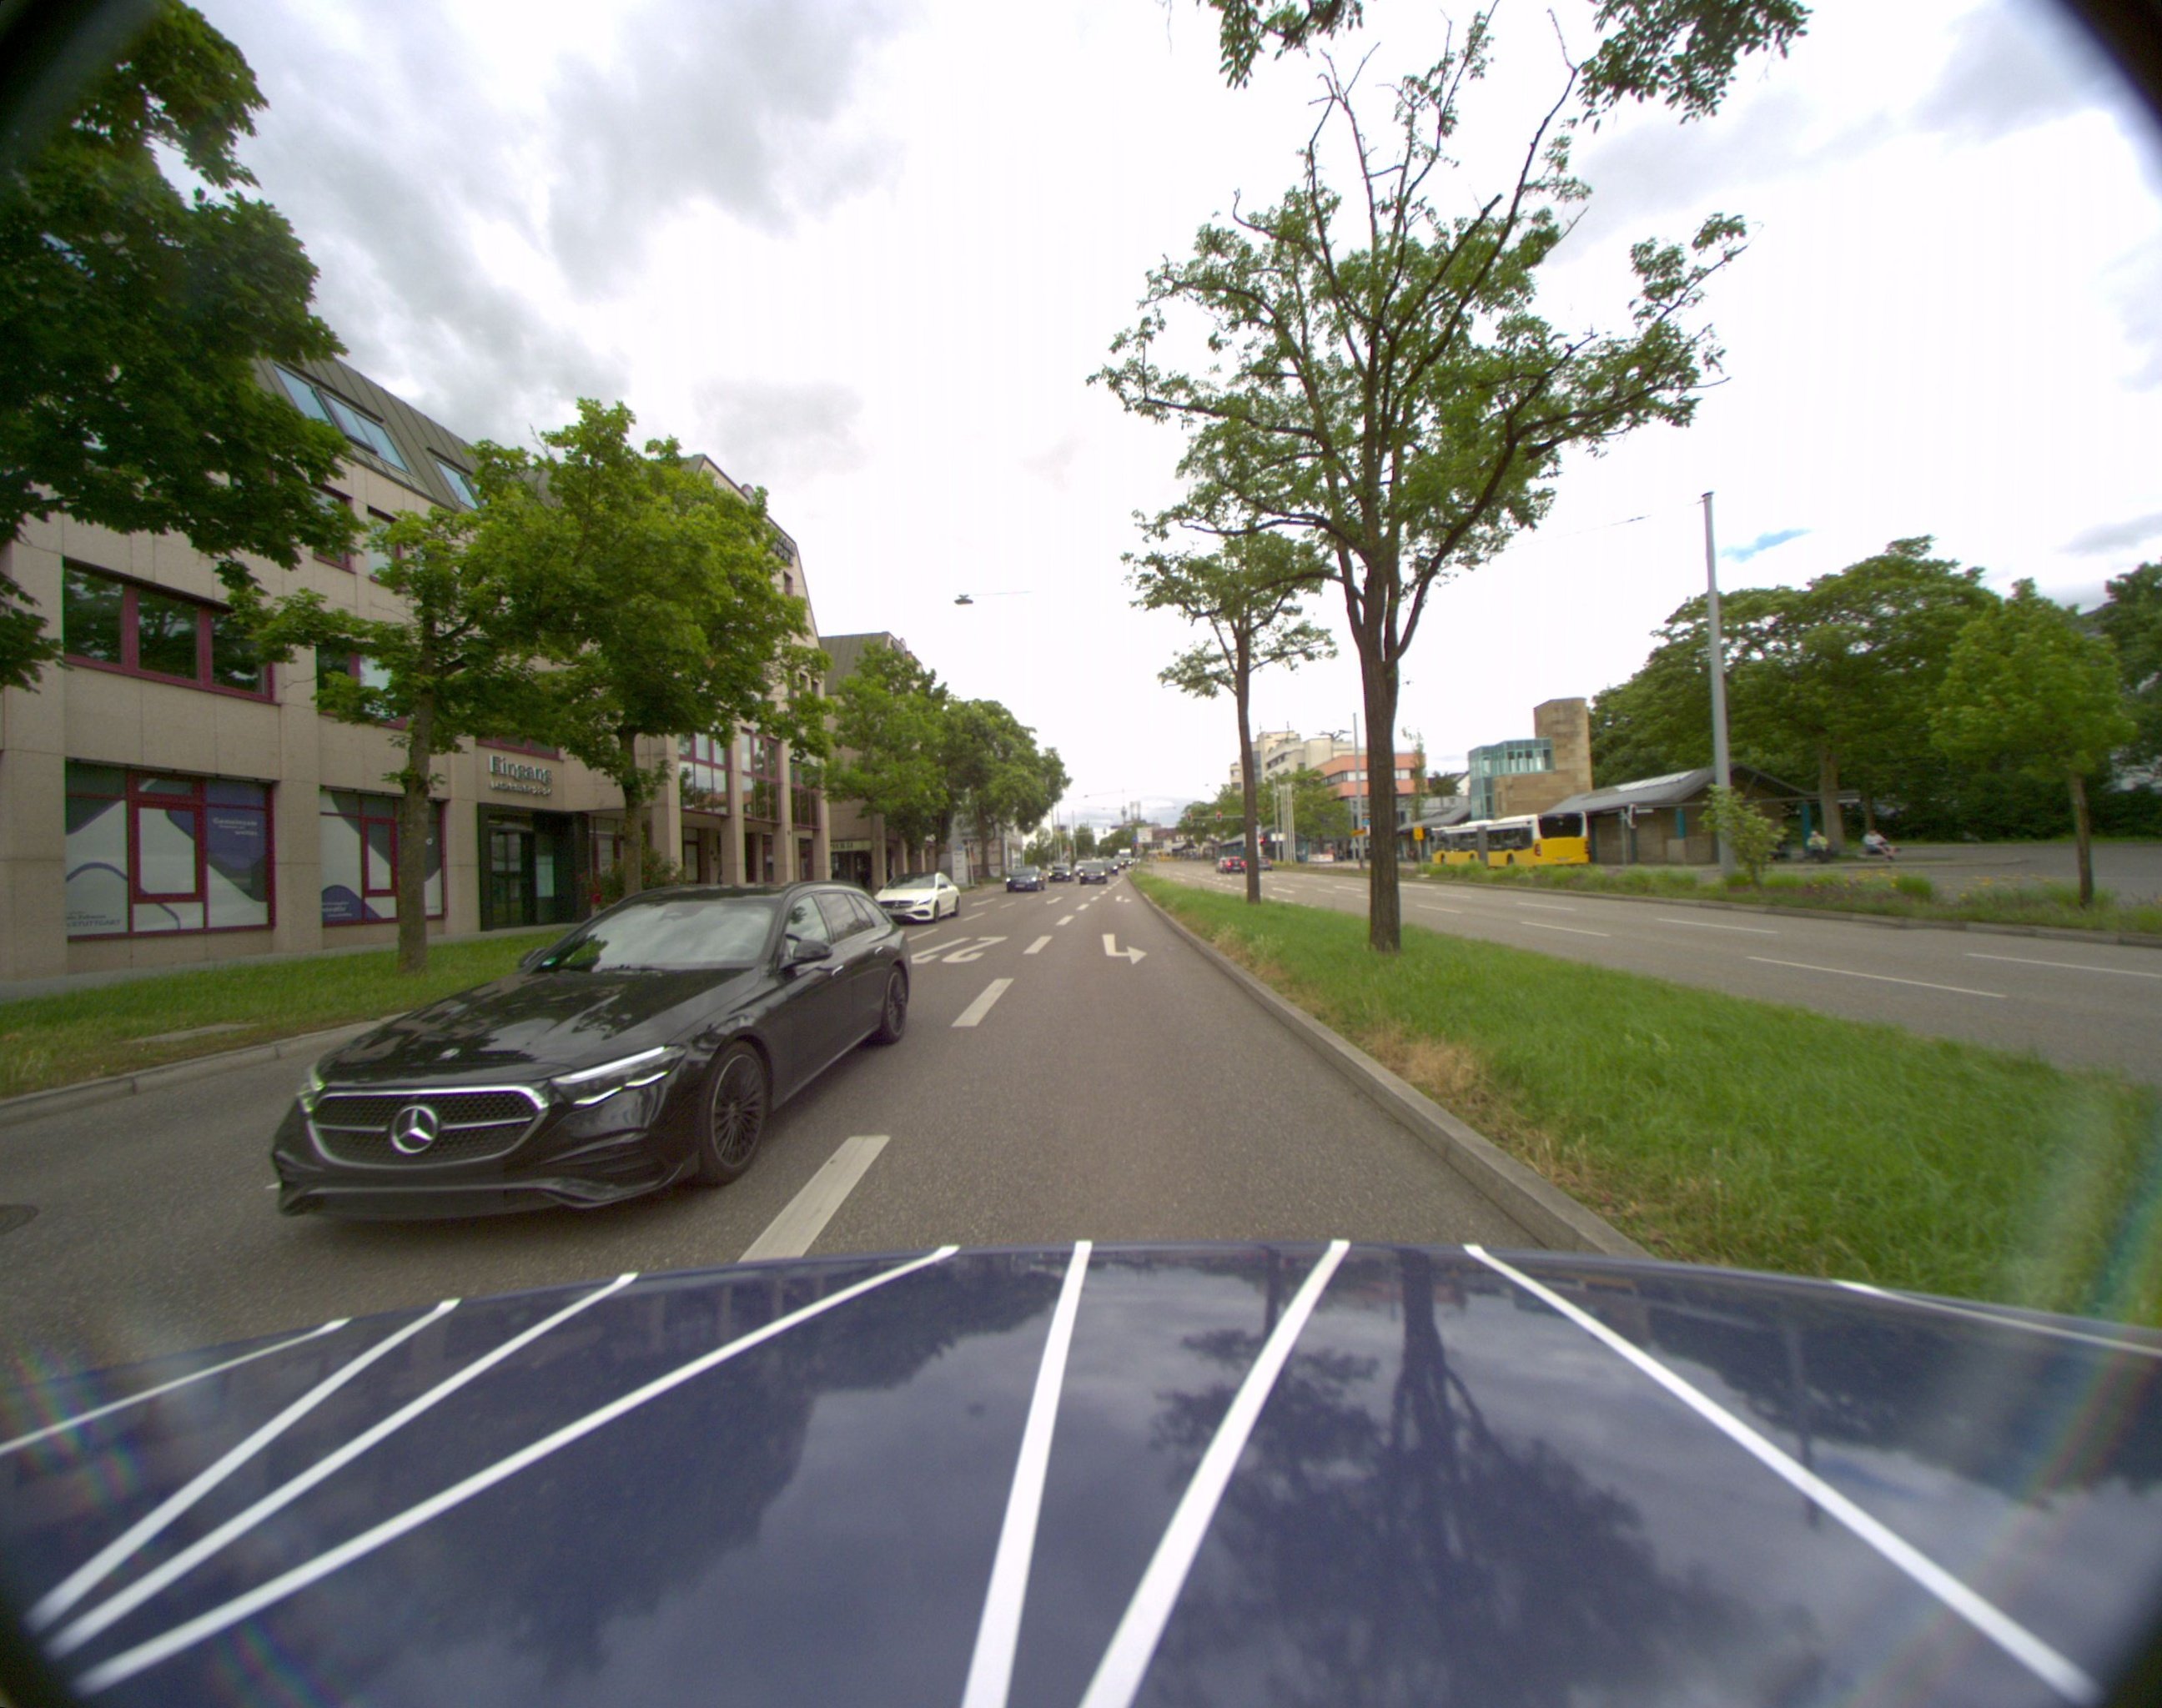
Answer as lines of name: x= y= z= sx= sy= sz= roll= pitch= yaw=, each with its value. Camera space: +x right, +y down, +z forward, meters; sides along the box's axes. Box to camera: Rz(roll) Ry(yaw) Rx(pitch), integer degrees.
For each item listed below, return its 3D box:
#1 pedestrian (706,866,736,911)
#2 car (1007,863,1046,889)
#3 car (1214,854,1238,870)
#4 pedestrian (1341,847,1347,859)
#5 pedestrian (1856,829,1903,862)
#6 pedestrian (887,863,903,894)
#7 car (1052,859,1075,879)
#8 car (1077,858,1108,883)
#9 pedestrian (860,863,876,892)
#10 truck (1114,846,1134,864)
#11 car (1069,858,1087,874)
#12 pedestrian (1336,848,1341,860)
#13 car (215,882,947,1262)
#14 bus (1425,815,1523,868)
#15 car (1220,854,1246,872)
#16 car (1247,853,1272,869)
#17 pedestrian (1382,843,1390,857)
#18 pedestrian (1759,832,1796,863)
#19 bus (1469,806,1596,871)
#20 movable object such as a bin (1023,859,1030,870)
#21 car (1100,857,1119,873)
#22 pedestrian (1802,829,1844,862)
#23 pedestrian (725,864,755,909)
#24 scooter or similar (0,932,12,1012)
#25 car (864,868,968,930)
pedestrian: x=-14.027 y=1.314 z=29.620 sx=0.596 sy=1.695 sz=0.970 roll=-2 pitch=0 yaw=5
car: x=-3.069 y=1.227 z=43.624 sx=1.972 sy=1.430 sz=4.312 roll=0 pitch=0 yaw=-1
car: x=14.139 y=0.821 z=74.223 sx=1.749 sy=1.456 sz=3.791 roll=-3 pitch=-1 yaw=2
pedestrian: x=33.498 y=-0.112 z=96.754 sx=0.485 sy=1.539 sz=0.383 roll=-3 pitch=0 yaw=-7
pedestrian: x=31.387 y=-0.331 z=29.869 sx=0.895 sy=1.247 sz=0.858 roll=-2 pitch=0 yaw=2
pedestrian: x=-11.188 y=1.446 z=45.657 sx=0.659 sy=1.815 sz=0.843 roll=-1 pitch=0 yaw=5
car: x=-1.389 y=1.163 z=61.273 sx=1.769 sy=1.440 sz=4.420 roll=-2 pitch=0 yaw=0
car: x=0.747 y=1.142 z=52.836 sx=1.972 sy=1.630 sz=4.312 roll=-1 pitch=0 yaw=-1
pedestrian: x=-12.842 y=1.410 z=45.848 sx=0.659 sy=1.681 sz=0.843 roll=-1 pitch=0 yaw=5
truck: x=8.037 y=0.177 z=143.139 sx=3.118 sy=3.209 sz=6.524 roll=-3 pitch=0 yaw=0
car: x=-0.334 y=1.325 z=83.035 sx=1.763 sy=1.625 sz=4.156 roll=-2 pitch=0 yaw=2
pedestrian: x=32.635 y=-0.015 z=96.423 sx=0.529 sy=1.539 sz=0.754 roll=-3 pitch=0 yaw=17
car: x=-2.675 y=1.069 z=5.837 sx=2.058 sy=1.477 sz=4.974 roll=-2 pitch=0 yaw=4
bus: x=26.695 y=-0.796 z=52.221 sx=2.781 sy=3.113 sz=9.444 roll=-4 pitch=-1 yaw=8
car: x=13.561 y=0.783 z=67.974 sx=1.662 sy=1.499 sz=3.769 roll=-2 pitch=0 yaw=1
car: x=17.307 y=0.657 z=73.908 sx=1.819 sy=1.499 sz=4.001 roll=-2 pitch=0 yaw=5
pedestrian: x=33.873 y=-0.440 z=84.368 sx=0.590 sy=1.452 sz=0.994 roll=-3 pitch=0 yaw=37
pedestrian: x=29.896 y=-0.276 z=32.624 sx=0.859 sy=1.247 sz=0.894 roll=-2 pitch=0 yaw=-27
bus: x=25.320 y=-0.782 z=43.280 sx=2.814 sy=3.113 sz=9.306 roll=-4 pitch=-1 yaw=9
movable object such as a bin: x=-6.006 y=1.148 z=83.264 sx=0.627 sy=1.097 sz=0.710 roll=-3 pitch=0 yaw=4
car: x=2.844 y=1.107 z=75.854 sx=1.763 sy=1.531 sz=4.048 roll=-2 pitch=0 yaw=2
pedestrian: x=29.803 y=-0.329 z=30.524 sx=0.859 sy=1.282 sz=0.894 roll=-2 pitch=0 yaw=-23
pedestrian: x=-13.301 y=1.265 z=29.619 sx=0.596 sy=1.695 sz=0.970 roll=-2 pitch=0 yaw=5
scooter or similar: x=-13.881 y=1.489 z=9.229 sx=0.585 sy=0.988 sz=0.847 roll=-1 pitch=0 yaw=6
car: x=-4.728 y=1.238 z=22.485 sx=1.798 sy=1.464 sz=4.700 roll=-2 pitch=0 yaw=3
